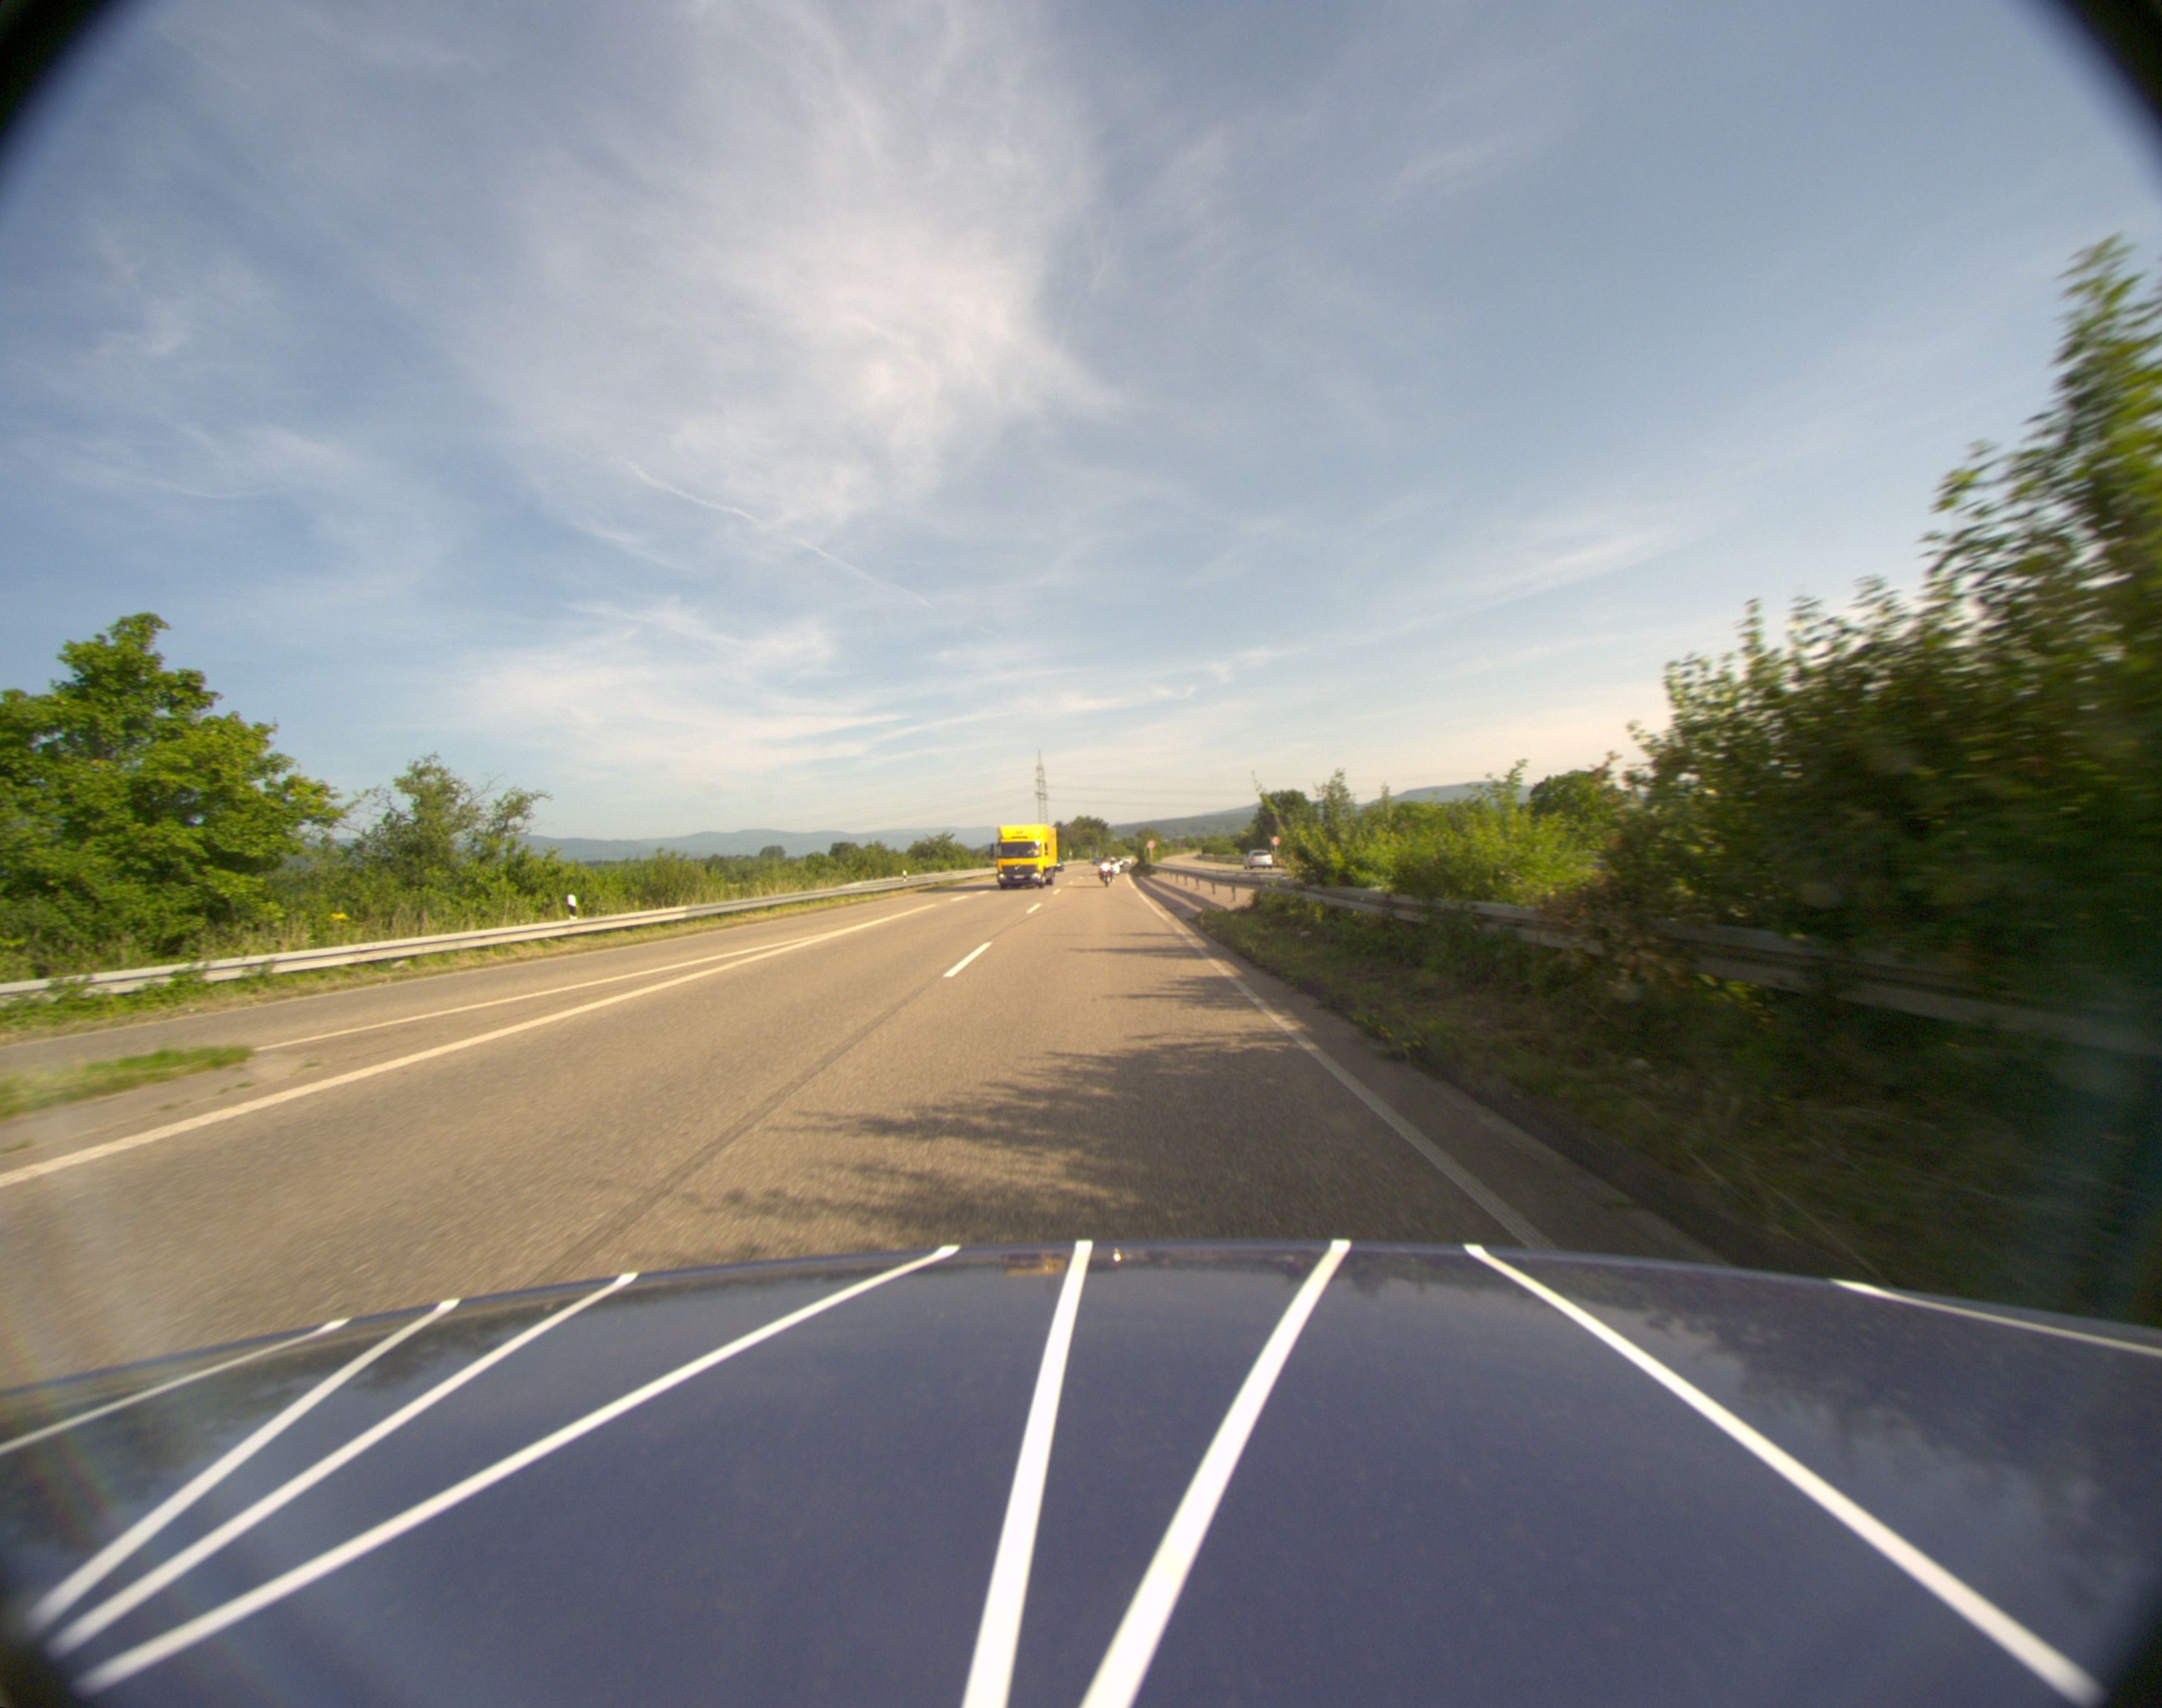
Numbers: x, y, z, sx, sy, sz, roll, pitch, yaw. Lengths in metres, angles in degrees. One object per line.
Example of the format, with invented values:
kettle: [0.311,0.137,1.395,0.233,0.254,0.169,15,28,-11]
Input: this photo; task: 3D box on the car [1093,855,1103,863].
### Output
car: [3.304,0.983,147.500,1.677,1.541,3.827,-2,1,4]

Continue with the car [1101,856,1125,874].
car: [2.877,0.971,67.459,1.868,1.454,4.085,-2,0,5]

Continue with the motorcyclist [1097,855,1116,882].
motorcyclist: [1.312,0.745,39.192,0.937,1.344,1.143,-2,1,3]

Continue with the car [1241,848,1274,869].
car: [13.443,0.329,58.002,1.643,1.412,4.000,-3,0,2]

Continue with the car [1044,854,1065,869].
car: [-3.147,0.884,90.715,1.877,1.630,4.001,-2,1,5]

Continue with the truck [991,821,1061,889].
truck: [-2.902,0.065,43.307,2.785,3.297,10.490,-2,0,2]

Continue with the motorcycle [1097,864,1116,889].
motorcycle: [1.338,1.140,39.229,0.937,1.131,2.582,-2,1,3]
